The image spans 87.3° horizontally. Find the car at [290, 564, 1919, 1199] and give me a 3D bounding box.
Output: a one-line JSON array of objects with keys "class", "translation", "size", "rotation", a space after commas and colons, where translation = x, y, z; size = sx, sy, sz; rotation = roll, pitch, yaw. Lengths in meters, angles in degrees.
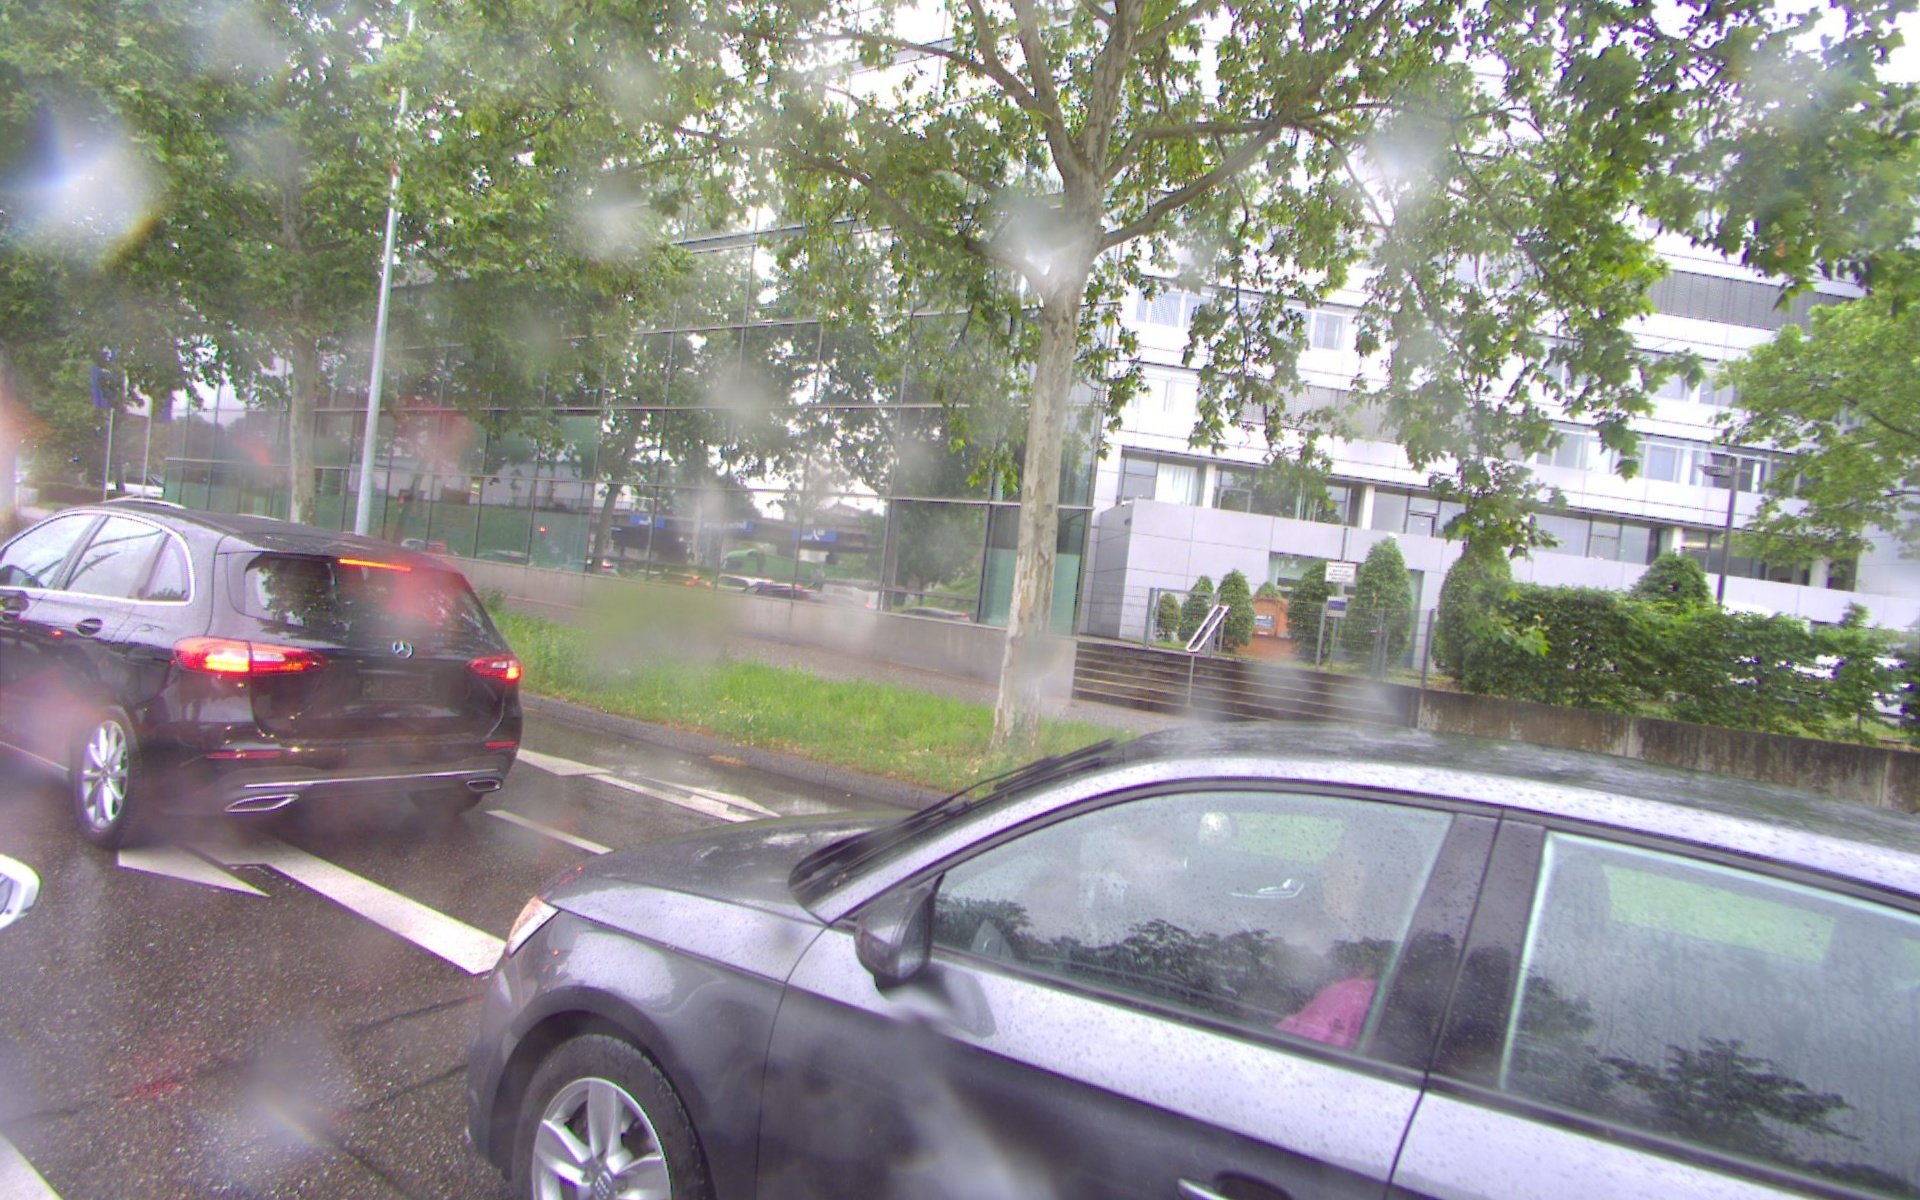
[{"class": "car", "translation": [0.682, 0.923, 2.263], "size": [3.932, 1.469, 1.998], "rotation": [6, -2, 30]}]

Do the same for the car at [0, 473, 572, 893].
[{"class": "car", "translation": [-4.319, 0.238, 5.735], "size": [3.932, 1.568, 1.712], "rotation": [8, 0, 30]}]

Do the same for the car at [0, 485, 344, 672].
[{"class": "car", "translation": [-9.647, -0.280, 12.201], "size": [4.120, 1.746, 1.860], "rotation": [6, -1, 30]}]
